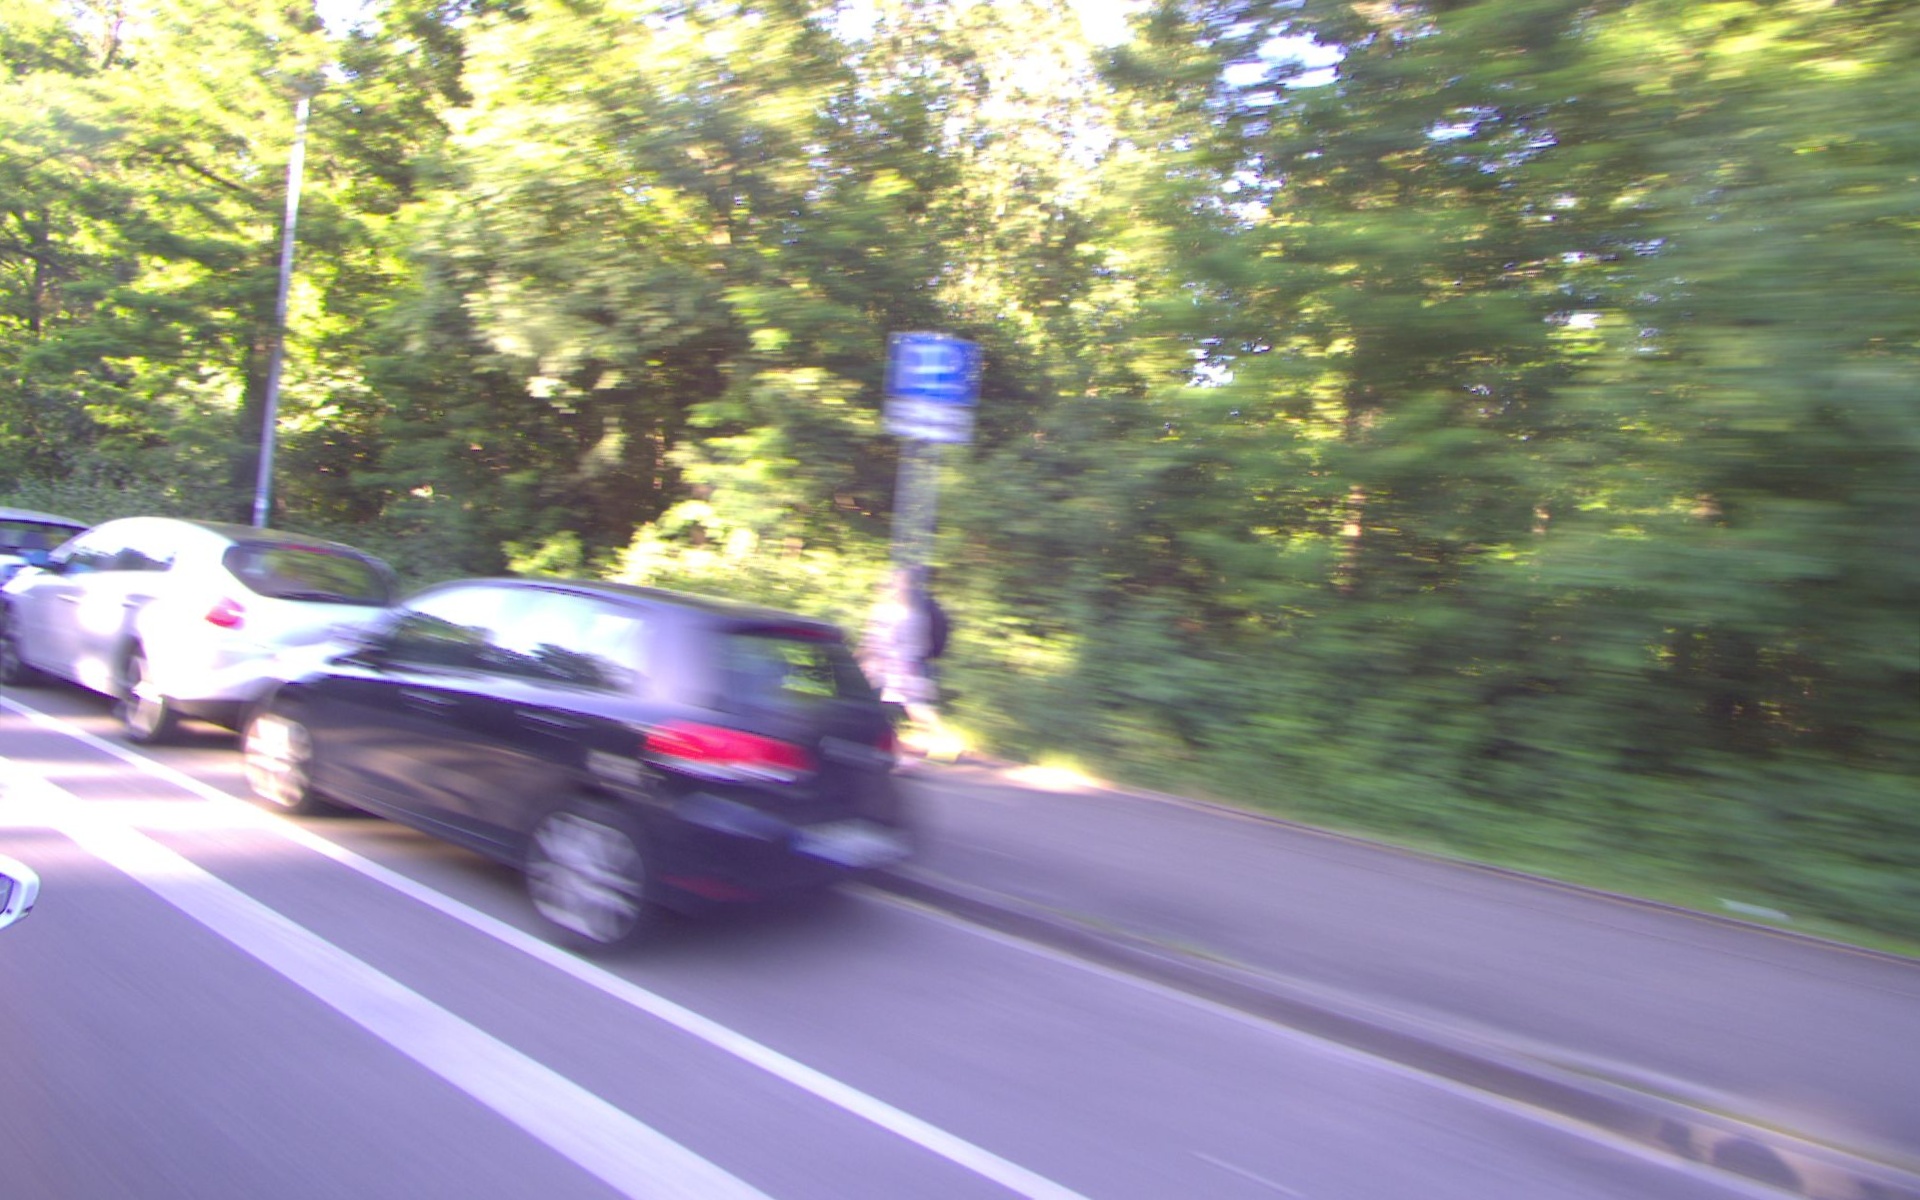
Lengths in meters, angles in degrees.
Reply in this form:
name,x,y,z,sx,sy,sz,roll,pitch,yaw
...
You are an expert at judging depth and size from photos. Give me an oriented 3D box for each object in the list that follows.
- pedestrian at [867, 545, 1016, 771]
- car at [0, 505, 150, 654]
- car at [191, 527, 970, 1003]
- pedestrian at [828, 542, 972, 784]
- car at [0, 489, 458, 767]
name,x,y,z,sx,sy,sz,roll,pitch,yaw
pedestrian,-0.160,0.481,8.871,0.937,1.823,0.675,7,3,29
car,-10.469,-0.359,10.710,3.777,1.335,1.631,7,-1,32
car,-2.139,0.606,5.353,3.953,1.468,1.660,7,-2,31
pedestrian,-0.489,0.489,8.241,0.776,1.823,0.675,7,3,29
car,-6.088,0.080,7.933,4.287,1.544,1.738,7,1,32
